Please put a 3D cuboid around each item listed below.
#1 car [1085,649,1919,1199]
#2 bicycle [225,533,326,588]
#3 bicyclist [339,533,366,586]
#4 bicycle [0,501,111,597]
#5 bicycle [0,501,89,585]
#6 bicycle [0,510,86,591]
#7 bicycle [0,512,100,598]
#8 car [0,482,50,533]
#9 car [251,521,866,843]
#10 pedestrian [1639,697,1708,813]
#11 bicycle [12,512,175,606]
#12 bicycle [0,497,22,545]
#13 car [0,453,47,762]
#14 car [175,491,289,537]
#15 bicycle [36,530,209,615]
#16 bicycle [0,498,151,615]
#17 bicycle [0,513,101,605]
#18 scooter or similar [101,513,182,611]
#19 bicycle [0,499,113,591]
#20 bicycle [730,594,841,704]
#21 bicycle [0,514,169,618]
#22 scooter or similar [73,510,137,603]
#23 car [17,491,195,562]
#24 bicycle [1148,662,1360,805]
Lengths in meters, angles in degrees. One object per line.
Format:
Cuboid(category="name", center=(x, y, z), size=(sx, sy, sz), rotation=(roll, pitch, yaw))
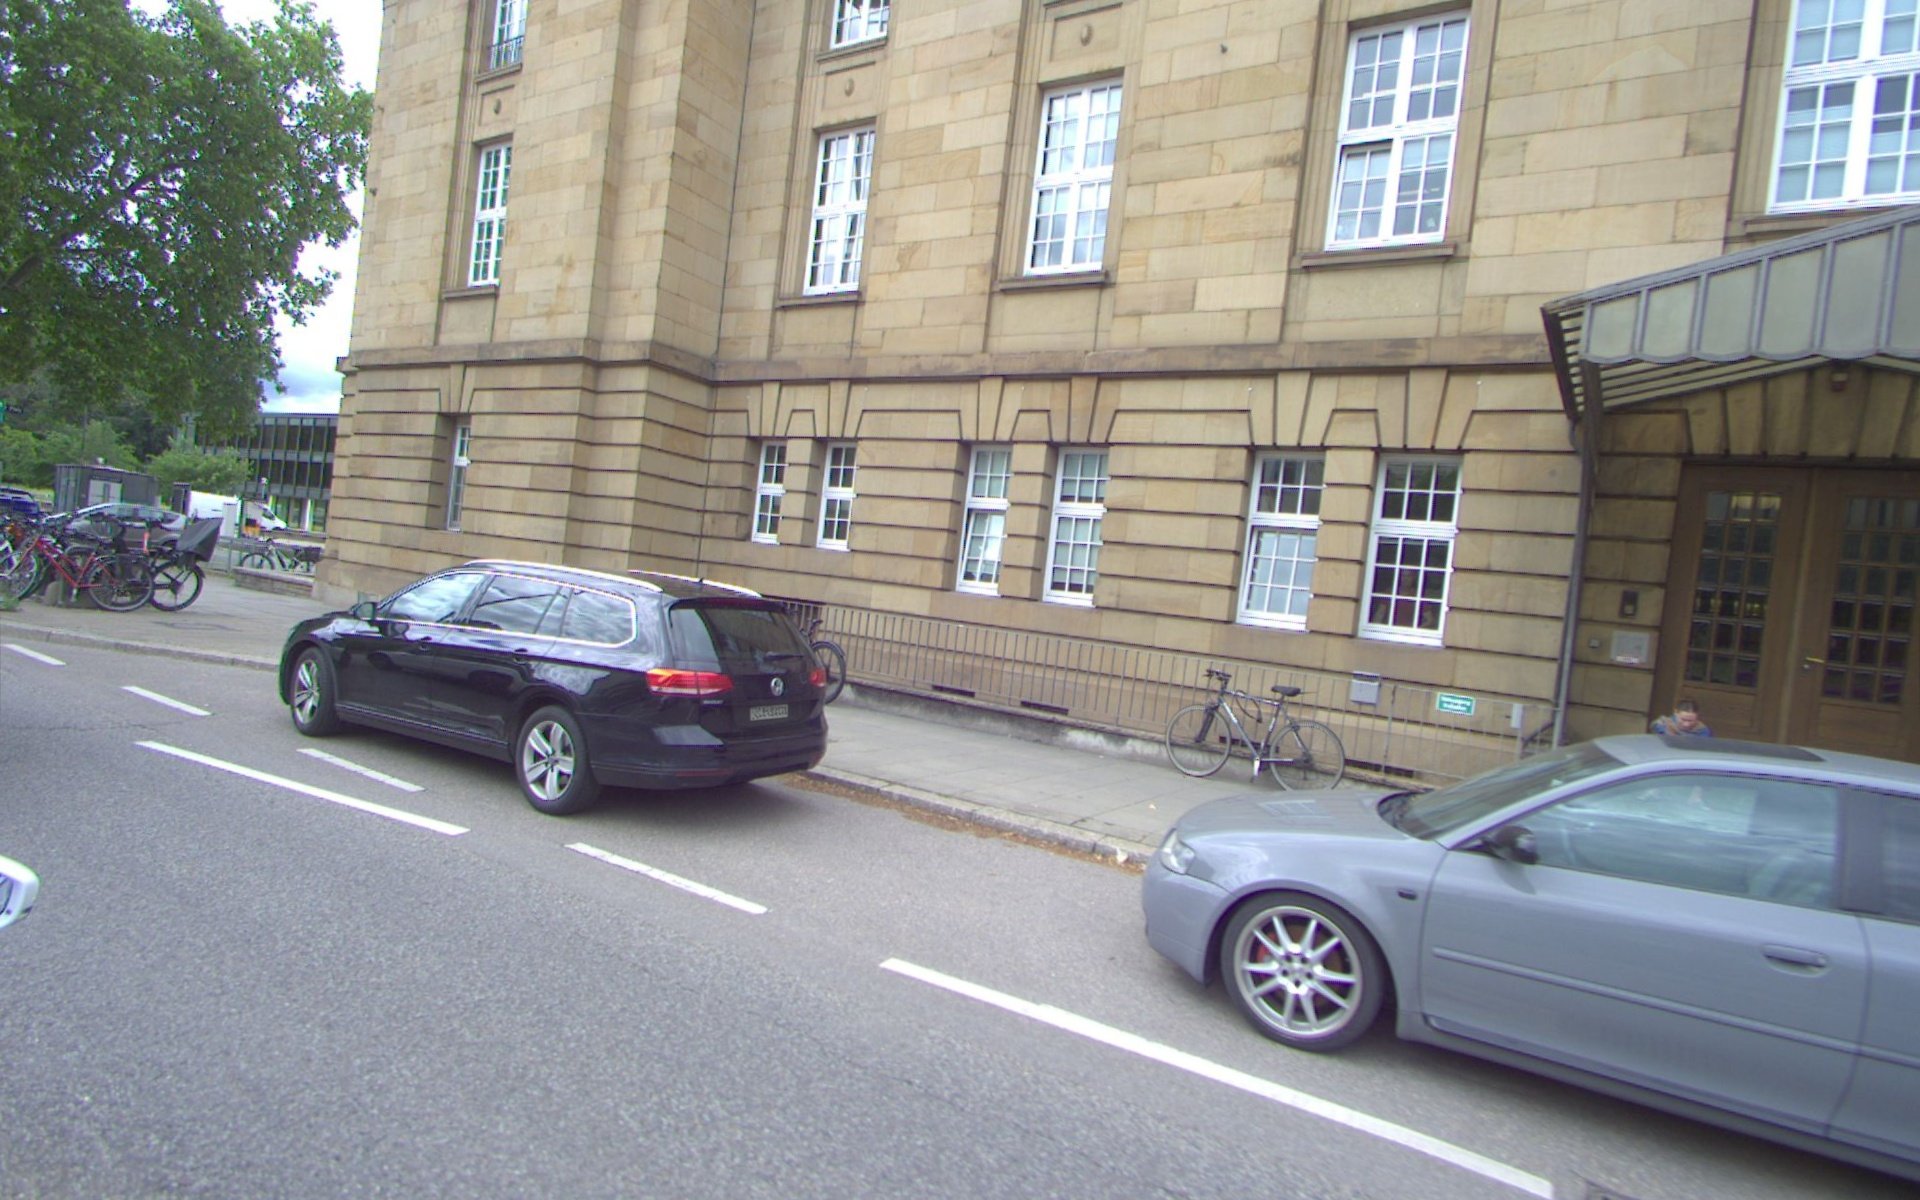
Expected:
Cuboid(category="car", center=(2.717, 1.165, 4.067), size=(3.930, 1.444, 1.710), rotation=(6, 1, 31))
Cuboid(category="bicycle", center=(-17.047, -0.968, 25.106), size=(0.382, 1.139, 2.014), rotation=(7, -1, 31))
Cuboid(category="bicyclist", center=(-21.107, -1.410, 34.955), size=(0.466, 1.770, 0.437), rotation=(7, 1, 24))
Cuboid(category="bicycle", center=(-13.518, -0.764, 14.498), size=(0.594, 1.223, 1.762), rotation=(7, -2, 29))
Cuboid(category="bicycle", center=(-14.189, -0.901, 14.985), size=(0.376, 1.104, 1.725), rotation=(7, -2, 44))
Cuboid(category="bicycle", center=(-14.536, -0.803, 15.325), size=(0.420, 1.104, 1.725), rotation=(7, -2, 44))
Cuboid(category="bicycle", center=(-13.877, -0.704, 14.789), size=(0.566, 1.104, 1.727), rotation=(7, -2, 40))
Cuboid(category="car", center=(-36.623, -3.658, 38.425), size=(3.960, 1.571, 1.762), rotation=(9, 1, 33))
Cuboid(category="car", center=(-2.995, 0.405, 7.282), size=(4.252, 1.505, 1.790), rotation=(7, 1, 30))
Cuboid(category="pedestrian", center=(5.908, 1.273, 8.346), size=(0.367, 0.883, 0.430), rotation=(6, -2, 33))
Cuboid(category="bicycle", center=(-11.765, -0.539, 13.704), size=(0.430, 1.040, 1.561), rotation=(7, -2, 43))
Cuboid(category="bicycle", center=(-25.965, -2.182, 26.425), size=(0.484, 1.235, 1.786), rotation=(7, -1, 35))
Cuboid(category="car", center=(-7.399, -0.238, 5.554), size=(4.357, 1.644, 1.794), rotation=(7, -1, 24))
Cuboid(category="car", center=(-52.458, -6.180, 72.608), size=(2.363, 2.288, 6.112), rotation=(7, -1, 34))
Cuboid(category="bicycle", center=(-11.403, -0.363, 13.766), size=(1.721, 0.928, 0.607), rotation=(7, -1, -40))
Cuboid(category="bicycle", center=(-11.526, -0.550, 13.011), size=(1.536, 1.271, 0.537), rotation=(9, -1, -40))
Cuboid(category="bicycle", center=(-12.752, -0.566, 13.704), size=(0.461, 1.143, 1.616), rotation=(7, -1, 6))
Cuboid(category="scooter or similar", center=(-12.000, -0.560, 14.741), size=(1.131, 1.293, 0.562), rotation=(7, -1, 38))
Cuboid(category="bicycle", center=(-12.875, -0.763, 14.094), size=(0.400, 1.143, 1.616), rotation=(7, -1, 6))
Cuboid(category="bicycle", center=(-2.207, 0.596, 12.606), size=(1.513, 1.198, 0.276), rotation=(6, 1, 34))
Cuboid(category="bicycle", center=(-11.164, -0.418, 12.786), size=(1.655, 1.087, 0.579), rotation=(8, -1, -39))
Cuboid(category="scooter or similar", center=(-12.336, -0.636, 14.499), size=(1.294, 1.238, 0.425), rotation=(6, -2, 42))
Cuboid(category="car", center=(-26.611, -2.261, 31.462), size=(1.651, 1.587, 3.841), rotation=(7, -1, 32))
Cuboid(category="bicycle", center=(2.756, 1.235, 9.565), size=(1.828, 1.041, 0.222), rotation=(7, -1, 32))
